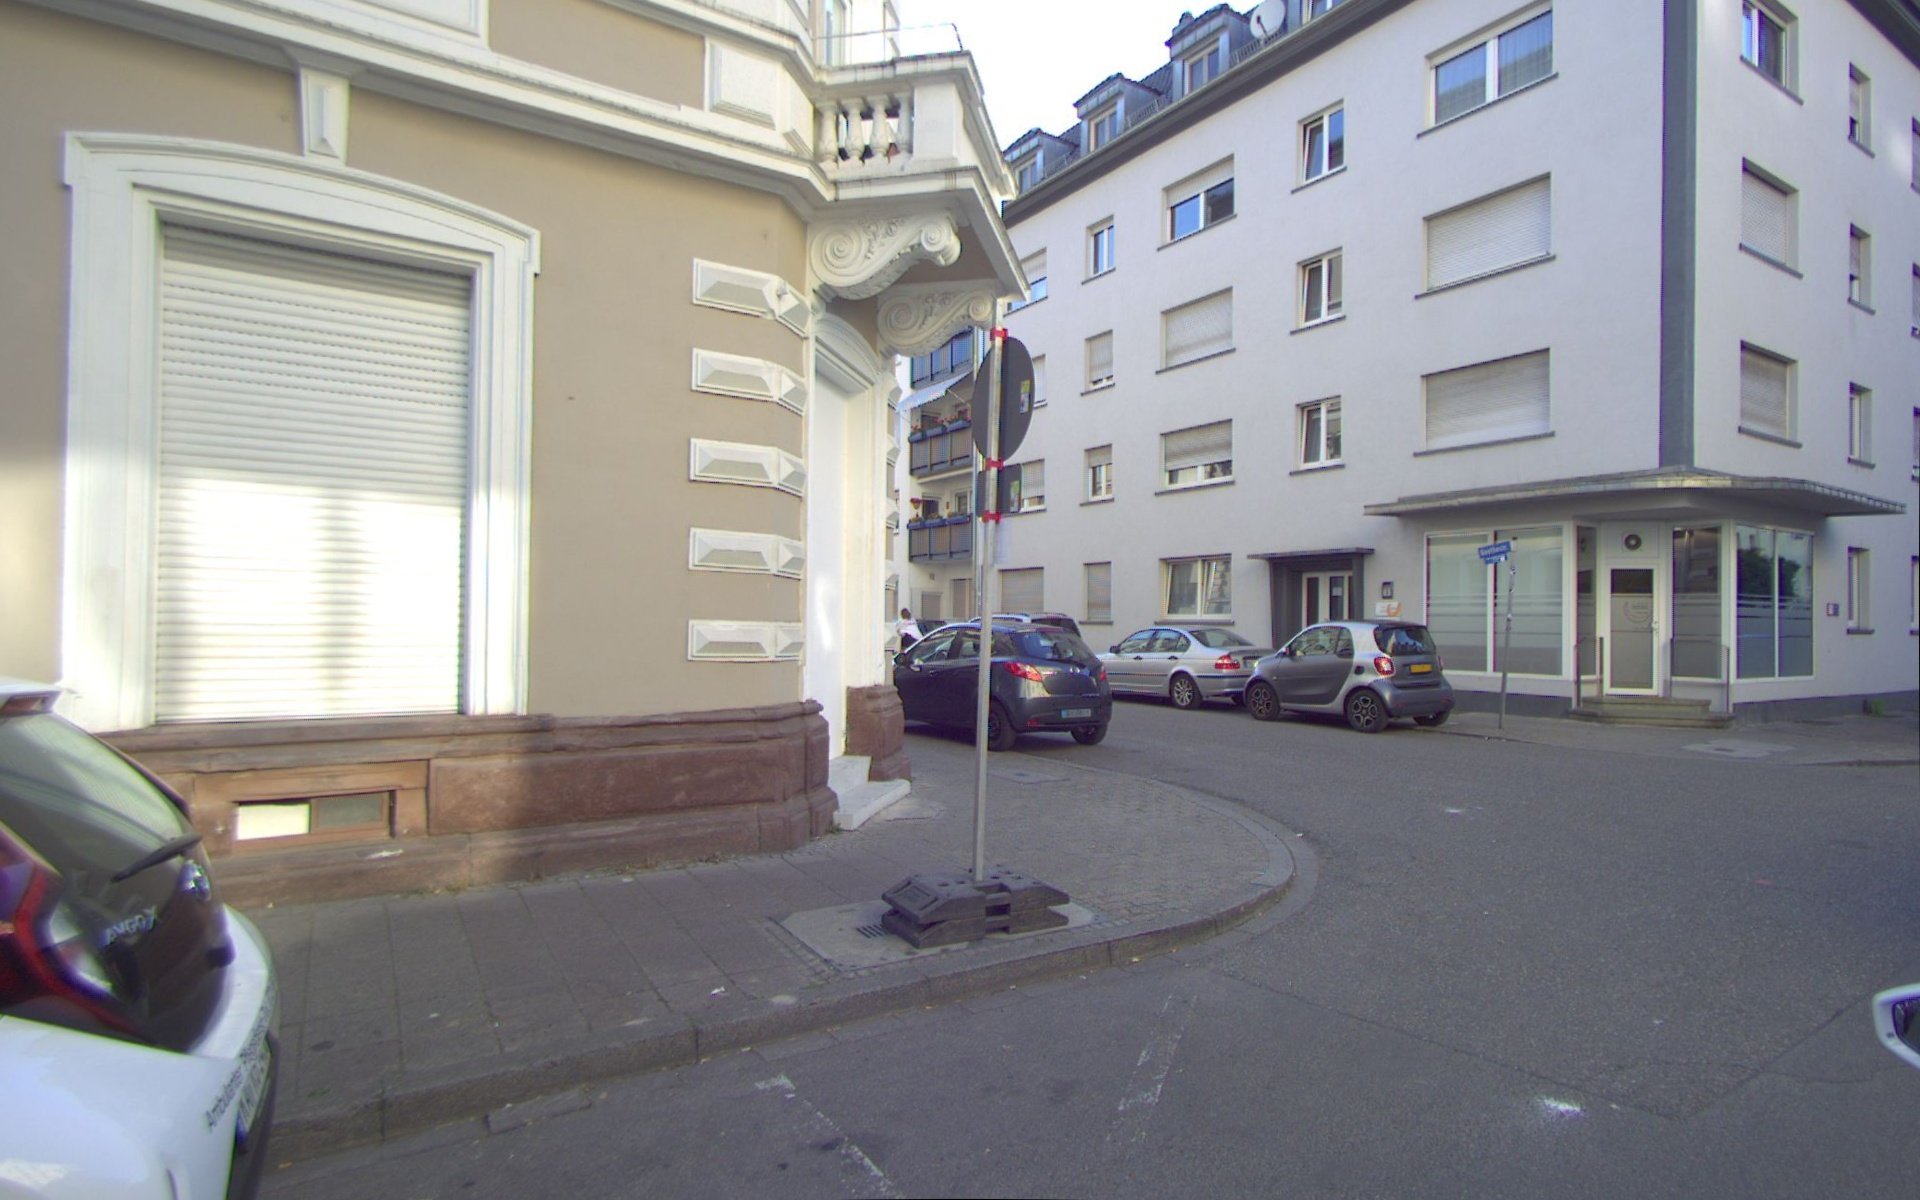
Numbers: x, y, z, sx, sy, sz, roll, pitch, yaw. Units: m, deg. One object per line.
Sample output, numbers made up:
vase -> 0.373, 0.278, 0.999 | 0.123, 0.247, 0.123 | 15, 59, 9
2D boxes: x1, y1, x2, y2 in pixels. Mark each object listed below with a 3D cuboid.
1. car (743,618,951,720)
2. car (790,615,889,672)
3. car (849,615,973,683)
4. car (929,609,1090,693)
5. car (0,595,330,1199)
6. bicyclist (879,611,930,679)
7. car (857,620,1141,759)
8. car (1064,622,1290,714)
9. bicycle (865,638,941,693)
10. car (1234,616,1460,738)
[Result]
car -> -2.061, 1.061, 17.055 | 1.884, 1.481, 4.286 | 1, -1, -32
car -> -3.702, 1.274, 30.397 | 1.586, 1.560, 3.470 | 1, 0, -33
car -> -1.357, 1.227, 26.416 | 1.587, 1.560, 3.685 | 1, 0, -34
car -> 1.020, 1.078, 22.668 | 1.586, 1.626, 3.993 | 1, 0, -33
car -> -3.214, 0.784, 1.090 | 4.218, 1.527, 1.911 | 1, -3, -31
bicyclist -> -1.233, 0.976, 22.101 | 0.727, 1.431, 0.932 | 1, 0, -32
car -> 0.360, 1.001, 12.693 | 1.713, 1.470, 3.639 | 1, -1, -36
car -> 3.859, 1.169, 18.541 | 1.586, 1.422, 4.179 | 1, -1, -33
bicycle -> -1.282, 1.415, 22.159 | 0.727, 1.041, 2.096 | 1, 0, -32
car -> 5.710, 1.063, 15.048 | 1.576, 1.560, 2.771 | 1, 0, -31
